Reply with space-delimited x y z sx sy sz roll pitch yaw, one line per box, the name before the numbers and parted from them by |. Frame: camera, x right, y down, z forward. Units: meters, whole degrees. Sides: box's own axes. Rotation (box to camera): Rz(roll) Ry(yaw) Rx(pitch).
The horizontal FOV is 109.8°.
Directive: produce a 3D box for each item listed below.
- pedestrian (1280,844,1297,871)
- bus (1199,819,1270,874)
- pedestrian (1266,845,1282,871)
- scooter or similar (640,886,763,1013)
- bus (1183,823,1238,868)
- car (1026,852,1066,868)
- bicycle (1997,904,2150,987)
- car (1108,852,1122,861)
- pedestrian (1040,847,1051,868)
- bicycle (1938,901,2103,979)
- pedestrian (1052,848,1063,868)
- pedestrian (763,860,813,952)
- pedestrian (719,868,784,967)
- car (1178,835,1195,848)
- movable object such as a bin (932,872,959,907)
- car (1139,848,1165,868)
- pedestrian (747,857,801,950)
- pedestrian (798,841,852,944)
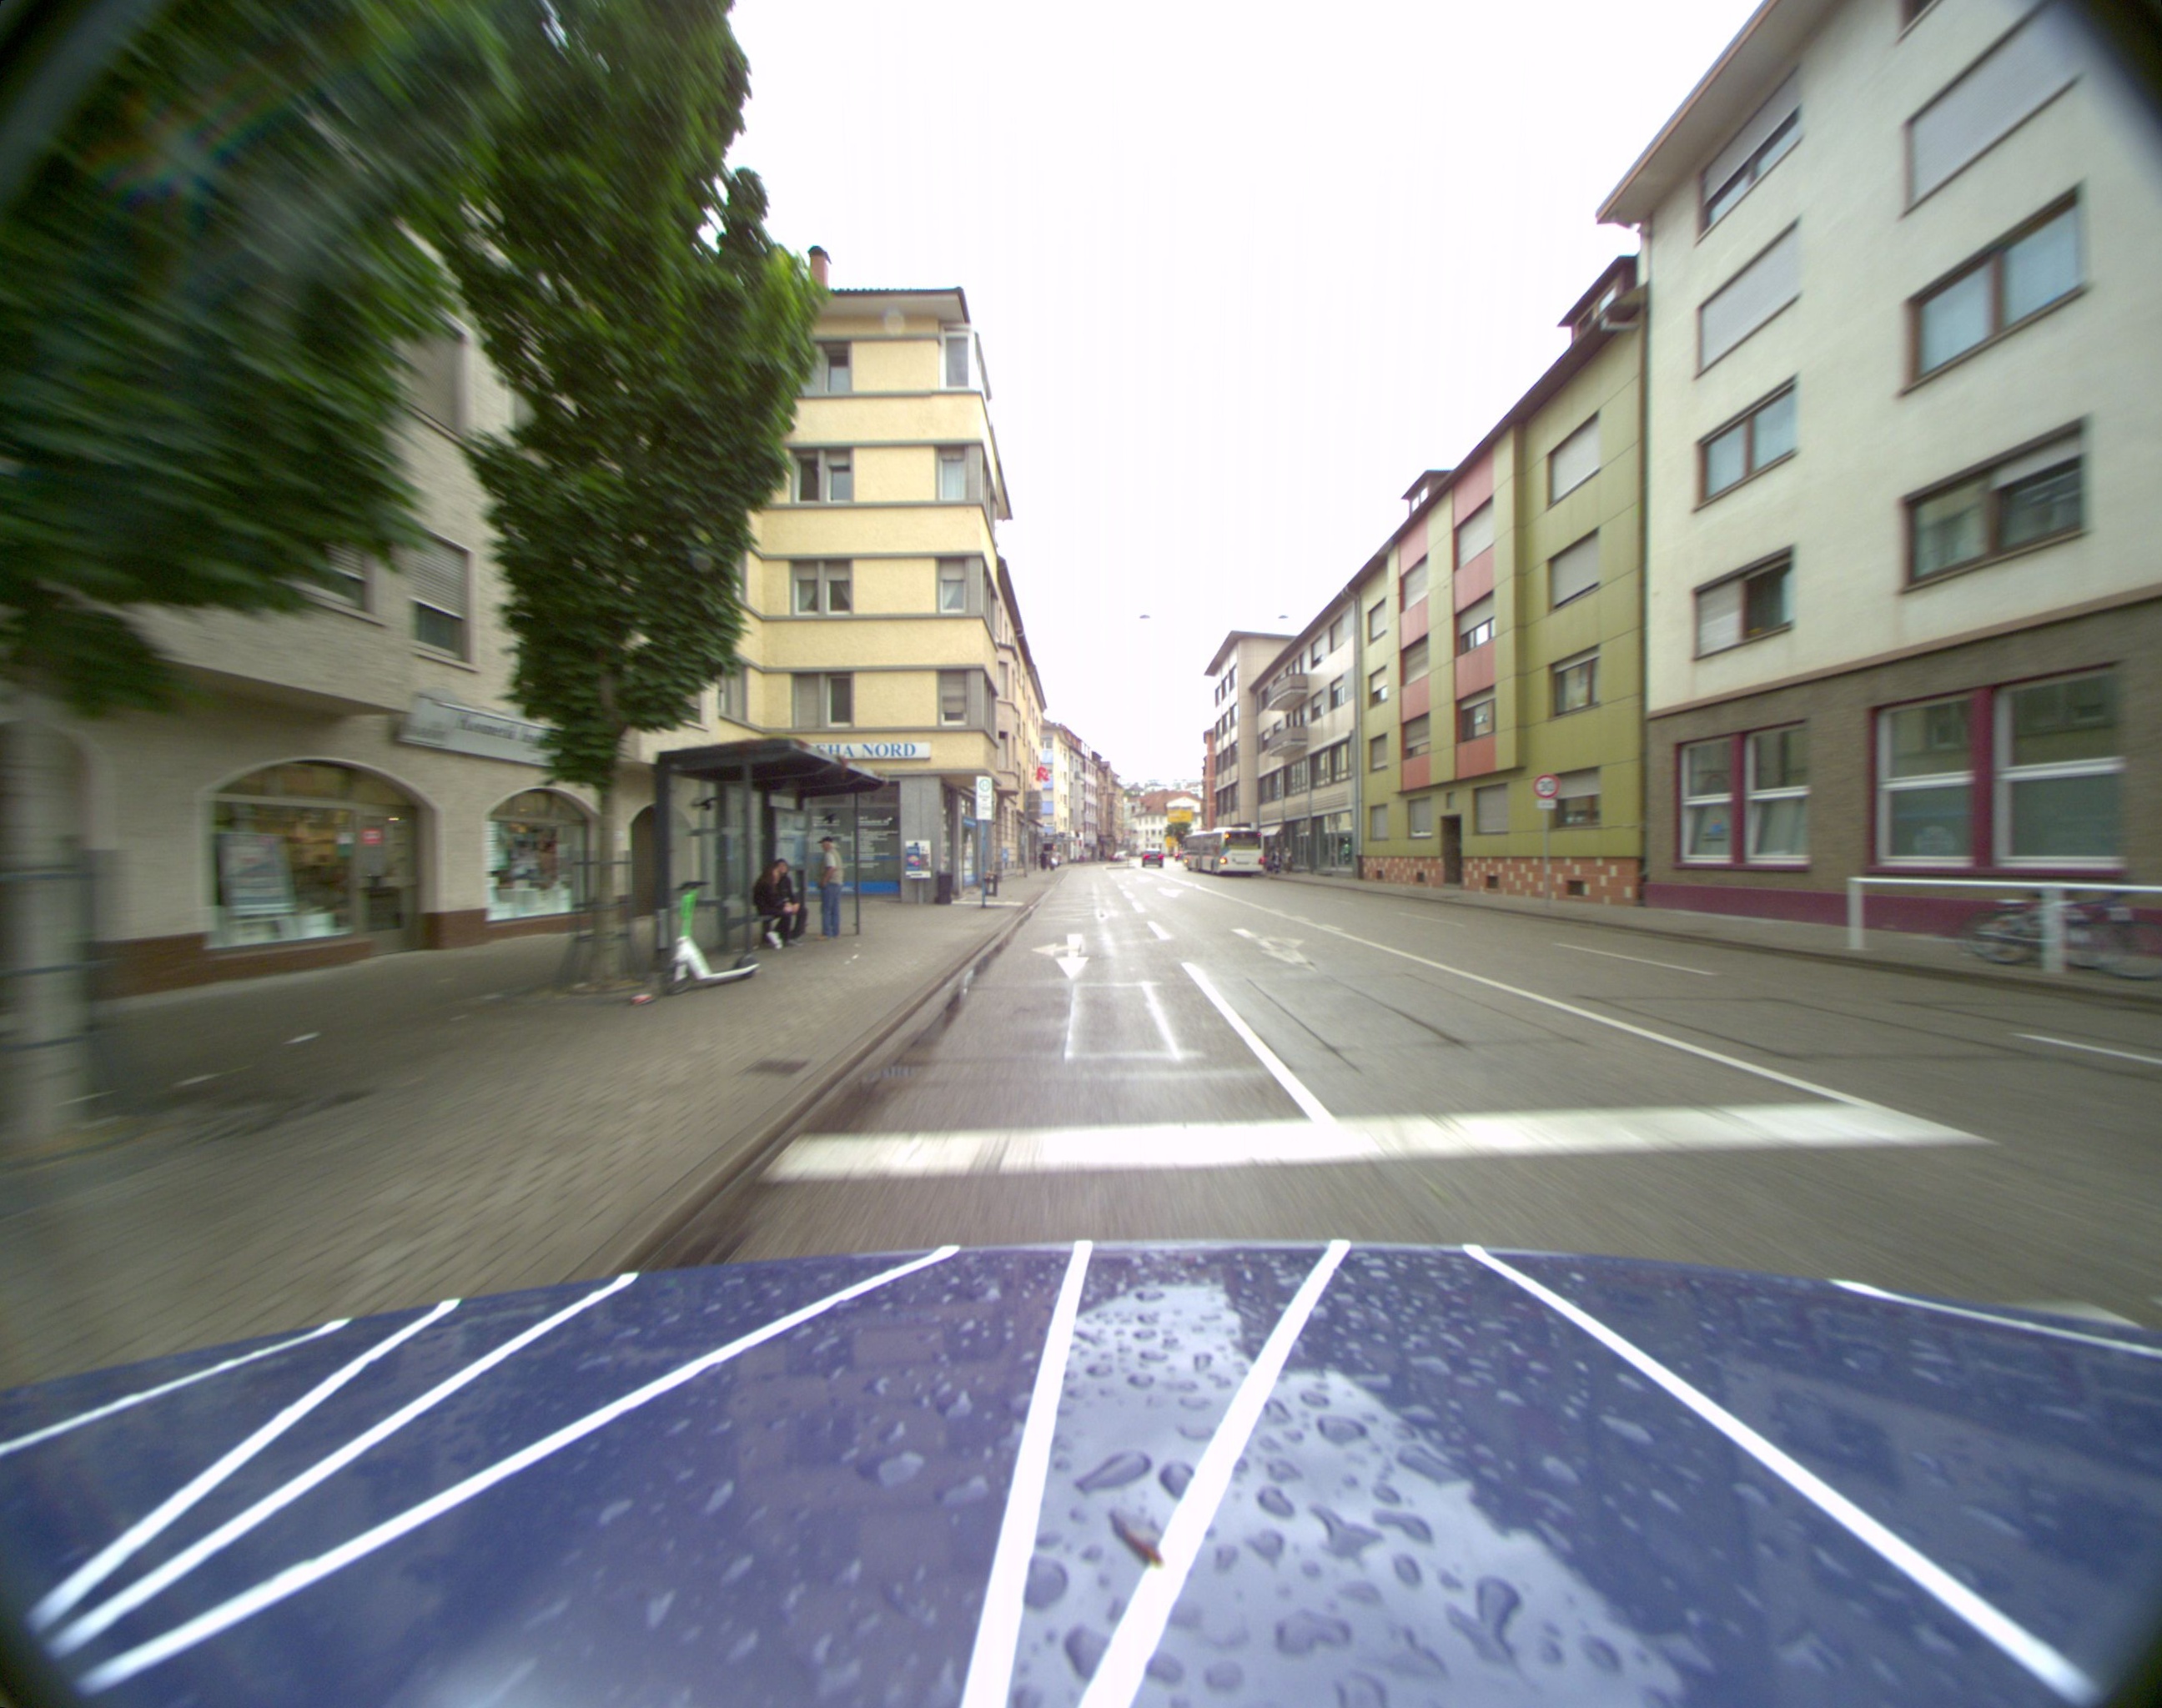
pedestrian | 12.416 0.218 45.428 0.839 1.605 0.711 0 1 0
bus | 9.584 -0.518 48.560 2.732 3.170 9.291 0 1 1
pedestrian | 11.567 0.244 45.480 0.801 1.526 0.711 0 1 0
scooter or similar | -4.061 0.974 8.257 0.512 1.165 1.549 0 1 1
bus | 9.688 -0.672 57.619 2.765 3.170 8.910 0 1 1
car | -3.541 0.599 77.825 3.833 1.565 1.937 0 1 6
bicycle | 11.140 1.002 8.569 0.265 0.779 1.111 0 1 1
car | 5.479 0.422 121.402 1.747 1.361 4.318 0 0 9
pedestrian | -2.705 0.253 58.078 0.770 1.551 0.876 0 1 -1
bicycle | 11.457 1.018 9.332 0.265 0.779 1.421 0 1 1
pedestrian | -1.804 0.287 58.053 0.780 1.551 0.782 0 1 -1
pedestrian | -4.564 0.795 11.863 0.565 1.389 0.514 0 2 -2
pedestrian | -4.593 0.868 10.617 0.607 1.328 0.625 0 1 0
car | 20.299 -2.400 146.139 2.092 2.421 6.350 0 1 -2
movable object such as a bin | -3.723 0.959 20.950 0.601 0.921 0.704 0 1 1
car | 6.453 0.349 69.613 1.936 1.747 4.571 0 1 -1
pedestrian | -4.555 0.717 11.297 0.535 1.342 0.596 0 1 0
pedestrian | -4.312 0.633 12.822 0.620 1.689 0.656 0 2 5
